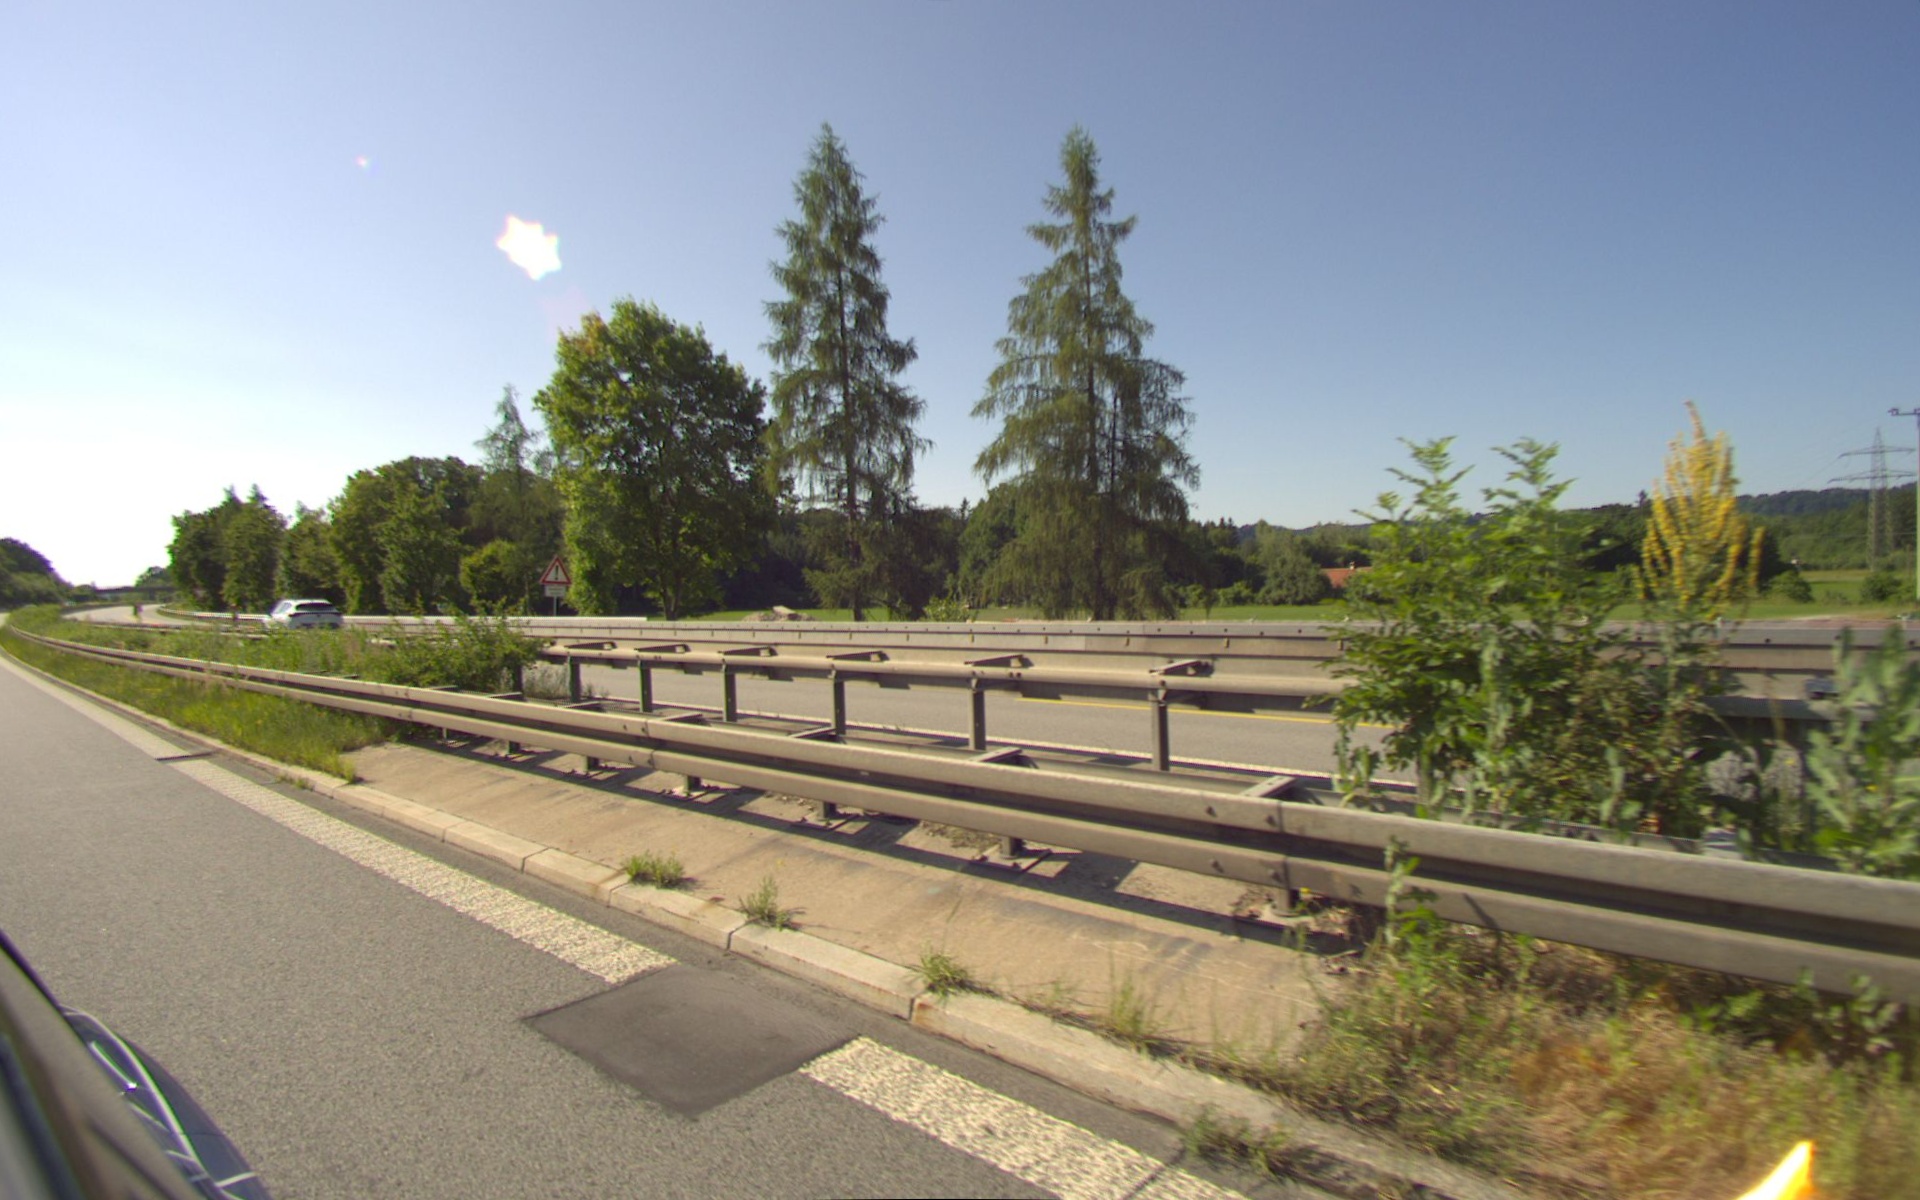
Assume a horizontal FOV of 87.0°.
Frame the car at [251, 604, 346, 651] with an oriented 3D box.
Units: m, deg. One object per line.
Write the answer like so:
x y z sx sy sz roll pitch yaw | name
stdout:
-23.164 0.908 35.363 4.535 1.523 1.741 0 0 43 | car
